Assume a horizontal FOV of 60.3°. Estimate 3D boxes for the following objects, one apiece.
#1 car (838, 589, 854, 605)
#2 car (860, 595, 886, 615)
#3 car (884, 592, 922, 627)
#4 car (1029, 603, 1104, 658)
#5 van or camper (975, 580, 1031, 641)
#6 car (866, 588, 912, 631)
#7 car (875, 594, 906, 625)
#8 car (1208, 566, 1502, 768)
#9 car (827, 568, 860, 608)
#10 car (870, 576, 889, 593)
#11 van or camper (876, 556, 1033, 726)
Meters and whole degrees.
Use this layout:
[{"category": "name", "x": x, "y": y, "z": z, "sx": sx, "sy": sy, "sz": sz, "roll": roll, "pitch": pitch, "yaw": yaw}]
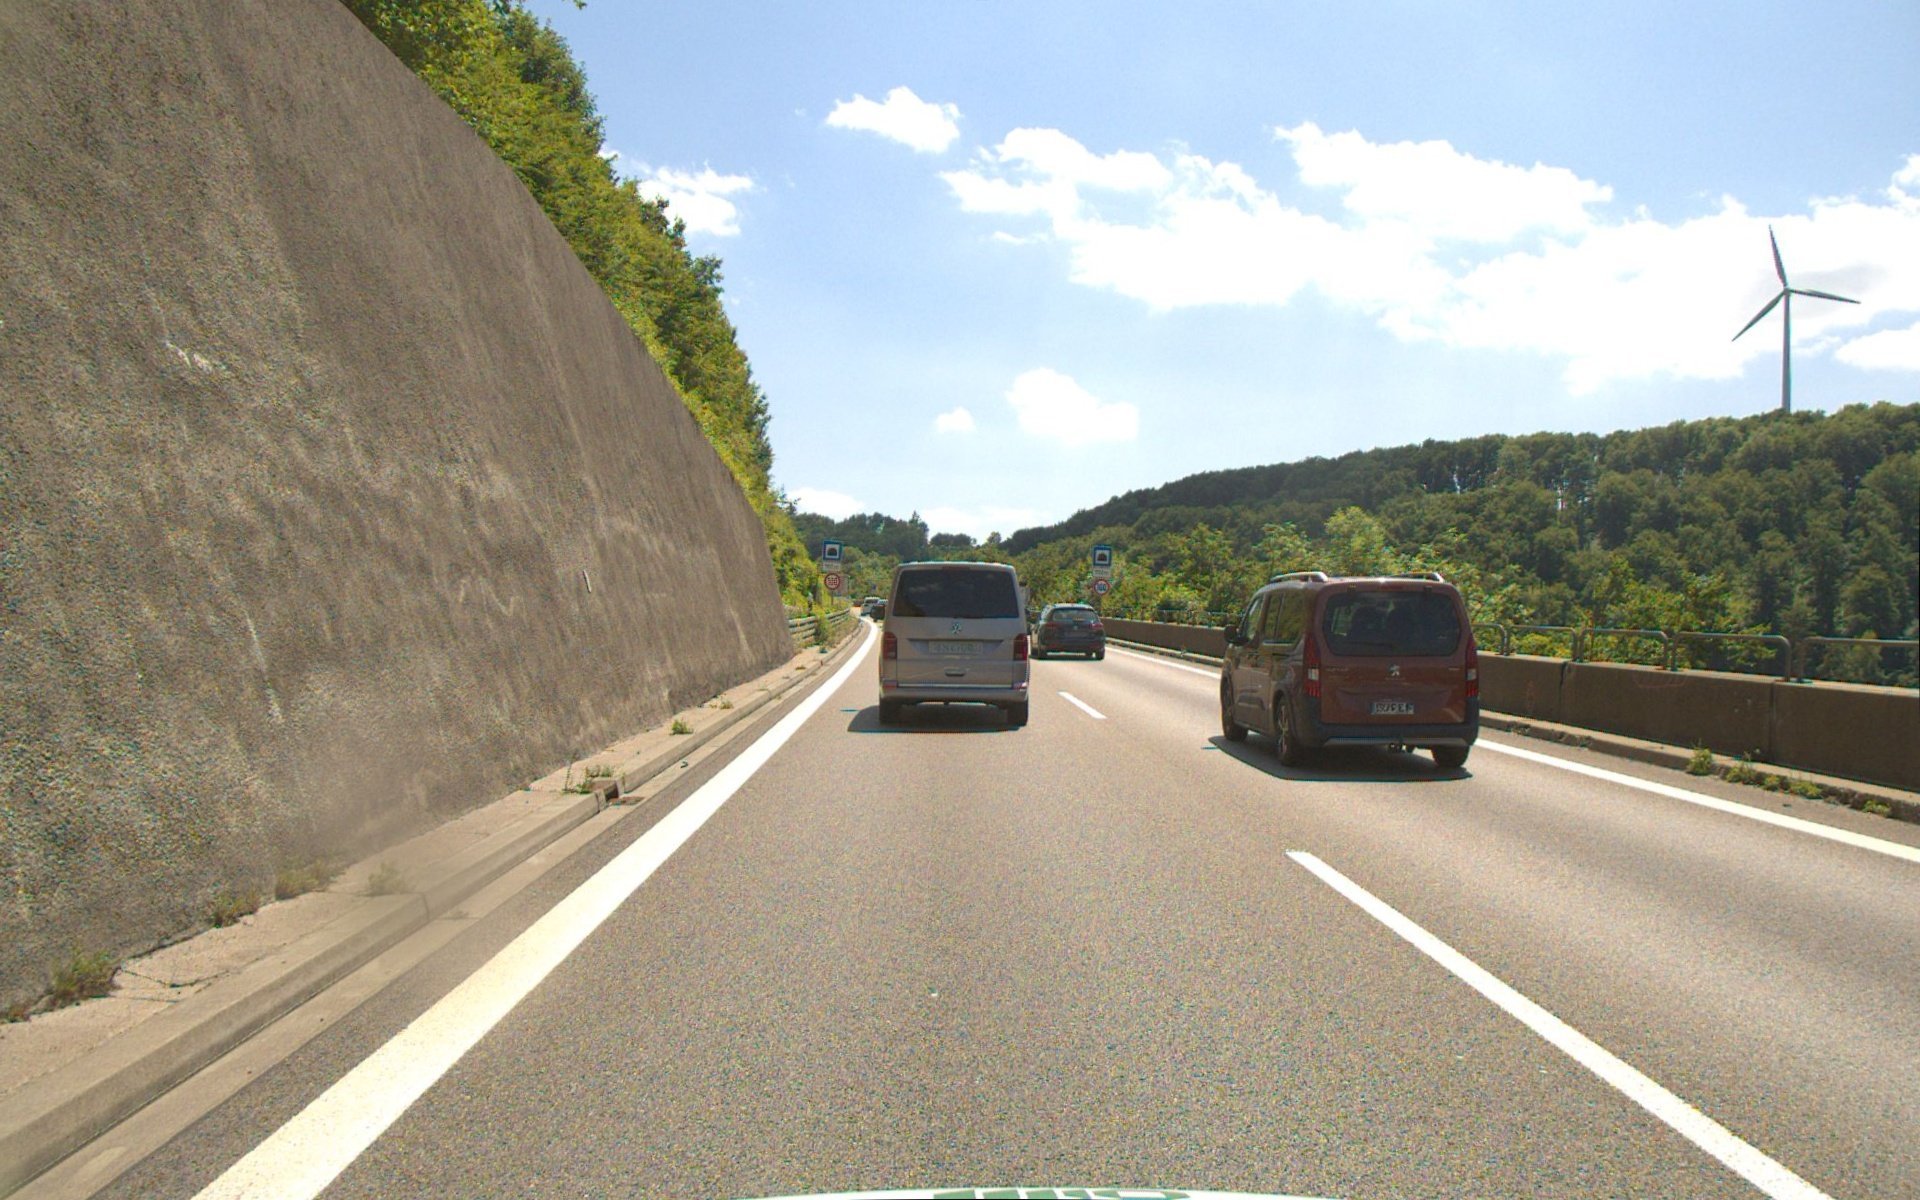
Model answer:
[{"category": "car", "x": -15.111, "y": -0.367, "z": 219.399, "sx": 1.955, "sy": 2.049, "sz": 3.995, "roll": 1, "pitch": 0, "yaw": -6}, {"category": "car", "x": -7.500, "y": 0.420, "z": 142.057, "sx": 2.100, "sy": 1.635, "sz": 5.074, "roll": 0, "pitch": 0, "yaw": -4}, {"category": "car", "x": -3.096, "y": 0.506, "z": 89.847, "sx": 1.954, "sy": 1.849, "sz": 3.997, "roll": 1, "pitch": 0, "yaw": -3}, {"category": "car", "x": 2.857, "y": 0.799, "z": 44.999, "sx": 1.732, "sy": 1.400, "sz": 3.592, "roll": 1, "pitch": 0, "yaw": -1}, {"category": "van or camper", "x": 1.887, "y": 0.461, "z": 74.490, "sx": 2.218, "sy": 2.596, "sz": 4.735, "roll": -1, "pitch": 0, "yaw": -2}, {"category": "car", "x": -3.204, "y": 0.433, "z": 74.073, "sx": 1.954, "sy": 1.849, "sz": 3.997, "roll": 1, "pitch": 0, "yaw": -3}, {"category": "car", "x": -4.608, "y": 0.604, "z": 109.080, "sx": 1.954, "sy": 1.948, "sz": 3.997, "roll": 1, "pitch": 0, "yaw": -4}, {"category": "car", "x": 3.919, "y": 0.623, "z": 17.255, "sx": 1.796, "sy": 1.815, "sz": 4.673, "roll": 0, "pitch": -1, "yaw": -2}, {"category": "car", "x": -14.863, "y": -1.492, "z": 210.953, "sx": 3.964, "sy": 4.957, "sz": 10.101, "roll": 1, "pitch": 0, "yaw": -4}, {"category": "car", "x": -9.996, "y": -1.865, "z": 204.515, "sx": 1.957, "sy": 2.049, "sz": 3.991, "roll": 1, "pitch": 0, "yaw": -9}, {"category": "van or camper", "x": -0.078, "y": 0.486, "z": 21.546, "sx": 1.837, "sy": 1.983, "sz": 4.293, "roll": 0, "pitch": 0, "yaw": -1}]
